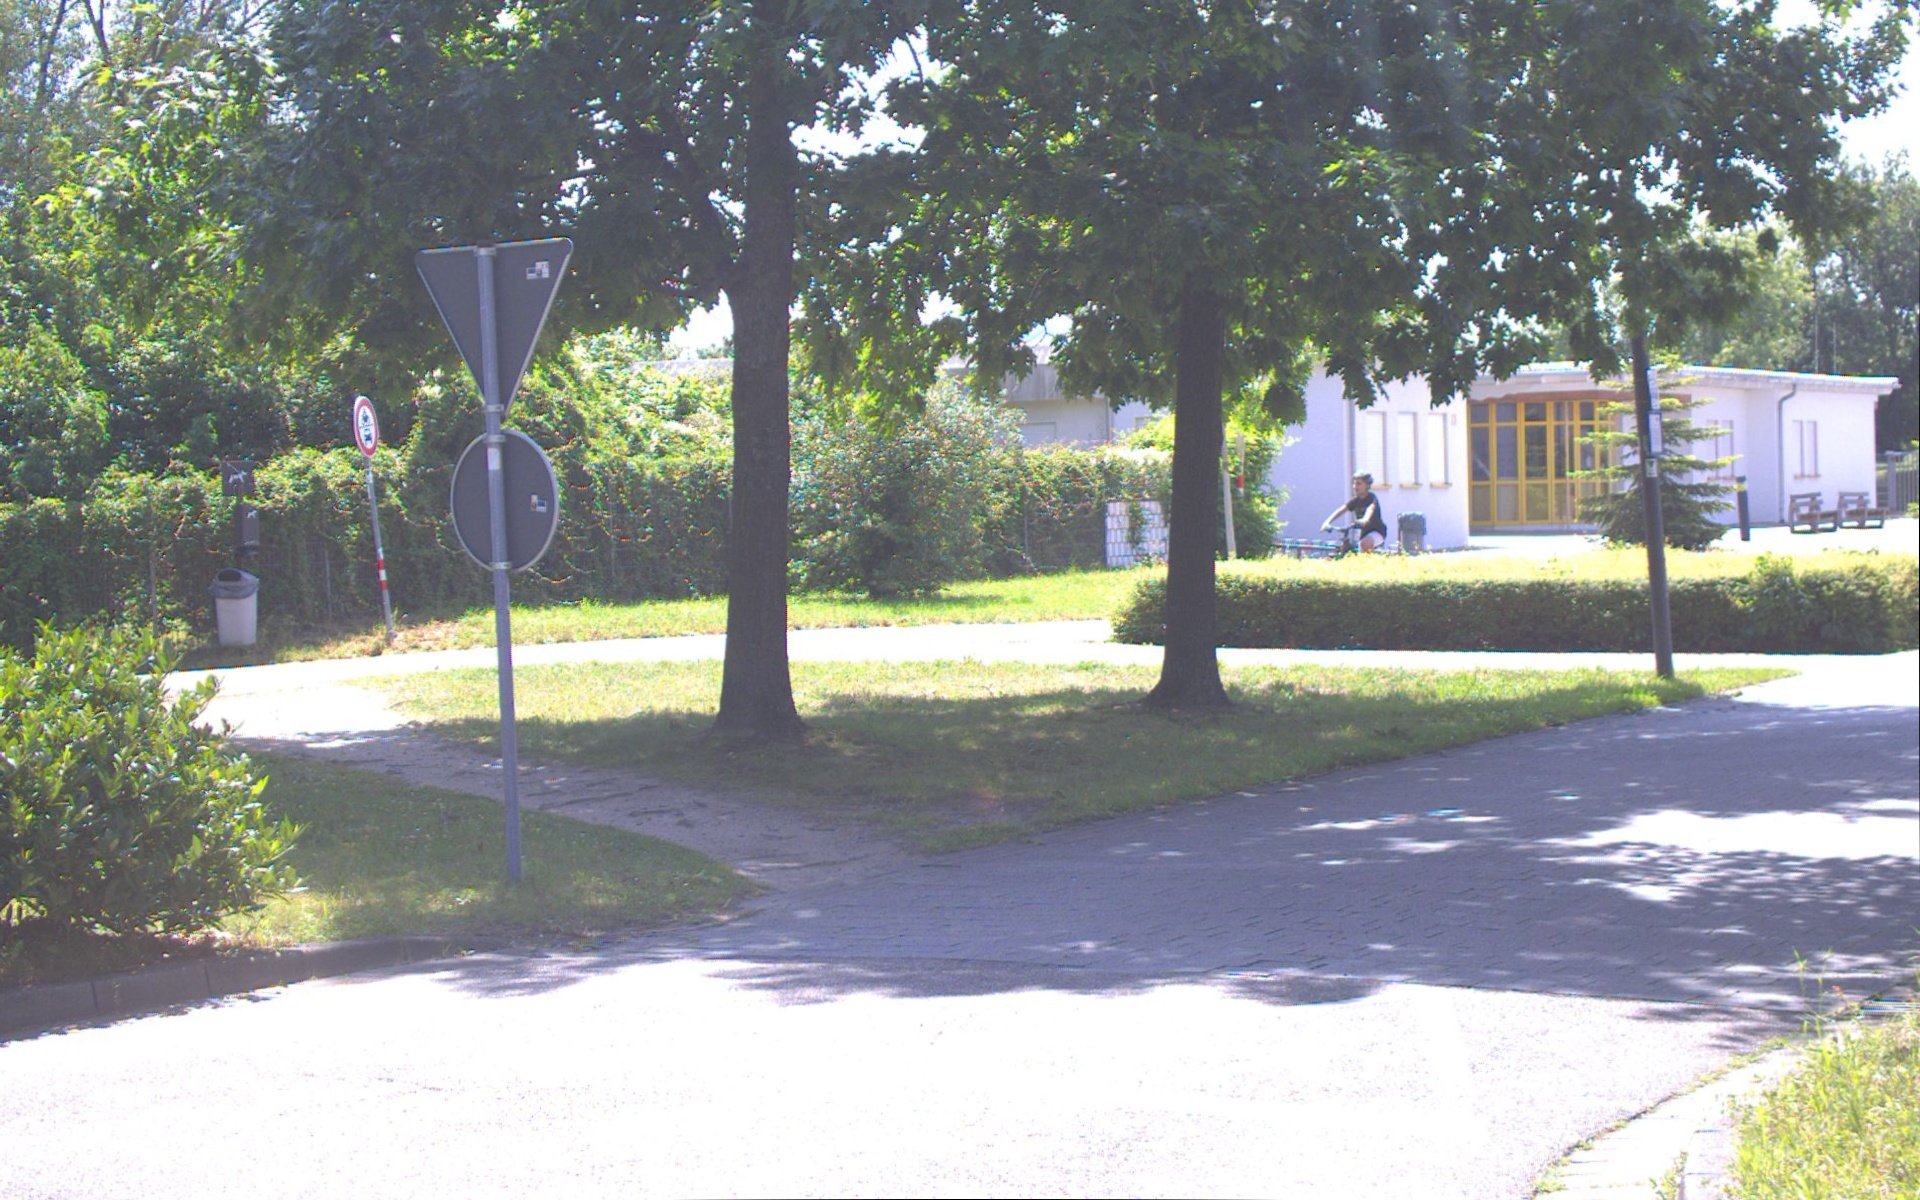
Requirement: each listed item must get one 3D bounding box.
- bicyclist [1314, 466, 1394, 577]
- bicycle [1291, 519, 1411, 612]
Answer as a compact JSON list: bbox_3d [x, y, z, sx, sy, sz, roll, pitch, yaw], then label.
[{"bbox_3d":[4.190,-0.836,36.585,0.598,1.160,0.647,0,2,33],"label":"bicyclist"},{"bbox_3d":[4.168,-0.375,36.535,0.598,0.925,1.617,0,2,33],"label":"bicycle"}]
